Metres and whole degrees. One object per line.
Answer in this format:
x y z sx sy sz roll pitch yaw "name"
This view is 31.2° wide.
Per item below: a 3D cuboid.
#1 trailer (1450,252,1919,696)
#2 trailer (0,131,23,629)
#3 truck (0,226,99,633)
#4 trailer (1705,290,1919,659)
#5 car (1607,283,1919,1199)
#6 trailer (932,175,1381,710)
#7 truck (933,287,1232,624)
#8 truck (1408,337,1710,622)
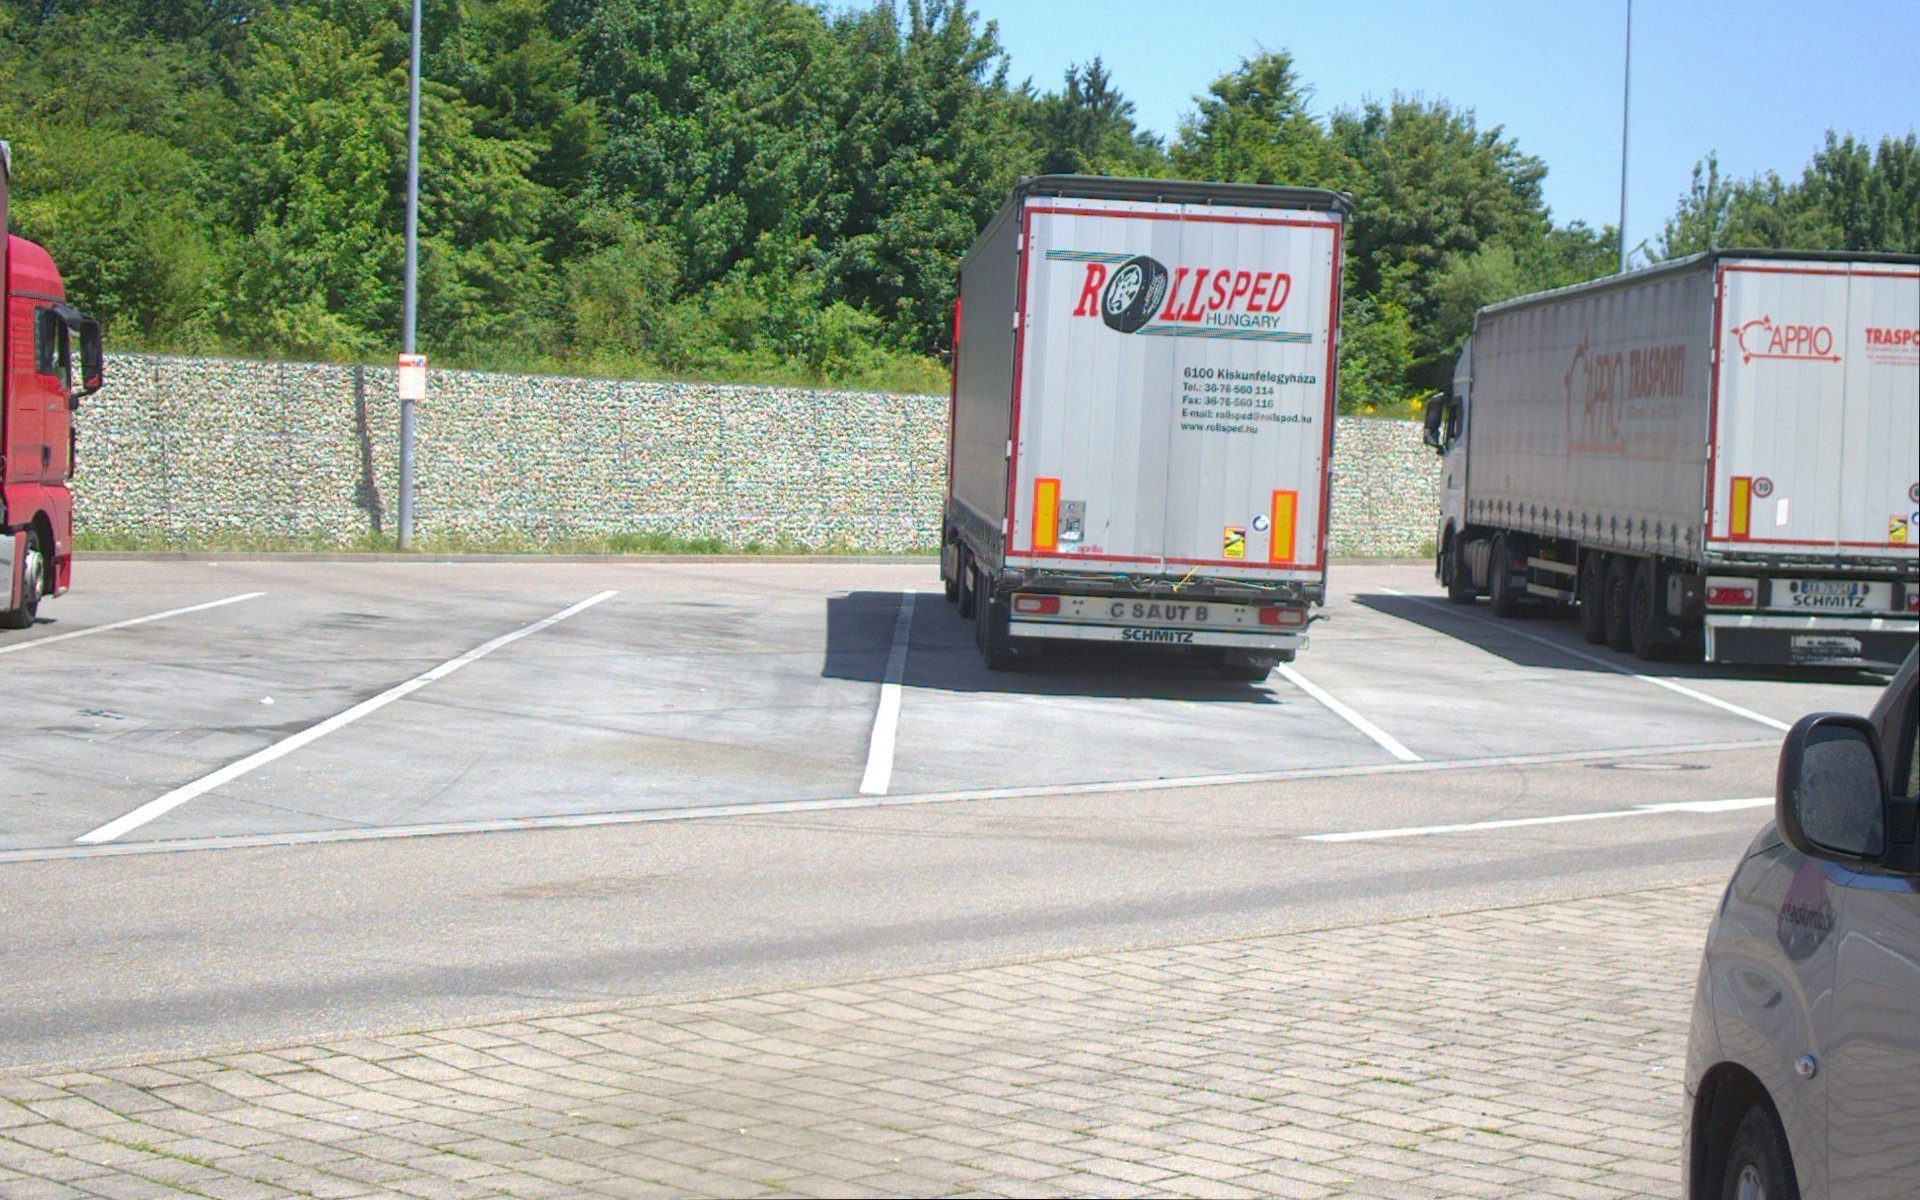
8.115 -1.519 38.718 2.811 3.976 14.396 2 3 -1 "trailer"
-9.195 -1.486 21.558 2.791 4.071 14.133 2 3 -1 "trailer"
-9.238 -1.441 28.132 2.851 3.316 5.900 2 3 -1 "truck"
11.756 -1.452 39.770 2.811 3.976 14.396 2 3 -1 "trailer"
2.147 0.585 3.838 1.869 1.857 4.177 2 2 -2 "car"
1.448 -1.590 33.607 3.133 3.976 14.397 2 3 -1 "trailer"
1.312 -1.731 40.499 3.103 3.554 5.900 2 3 -1 "truck"
8.023 -1.695 46.819 2.862 3.509 5.900 2 3 -1 "truck"
